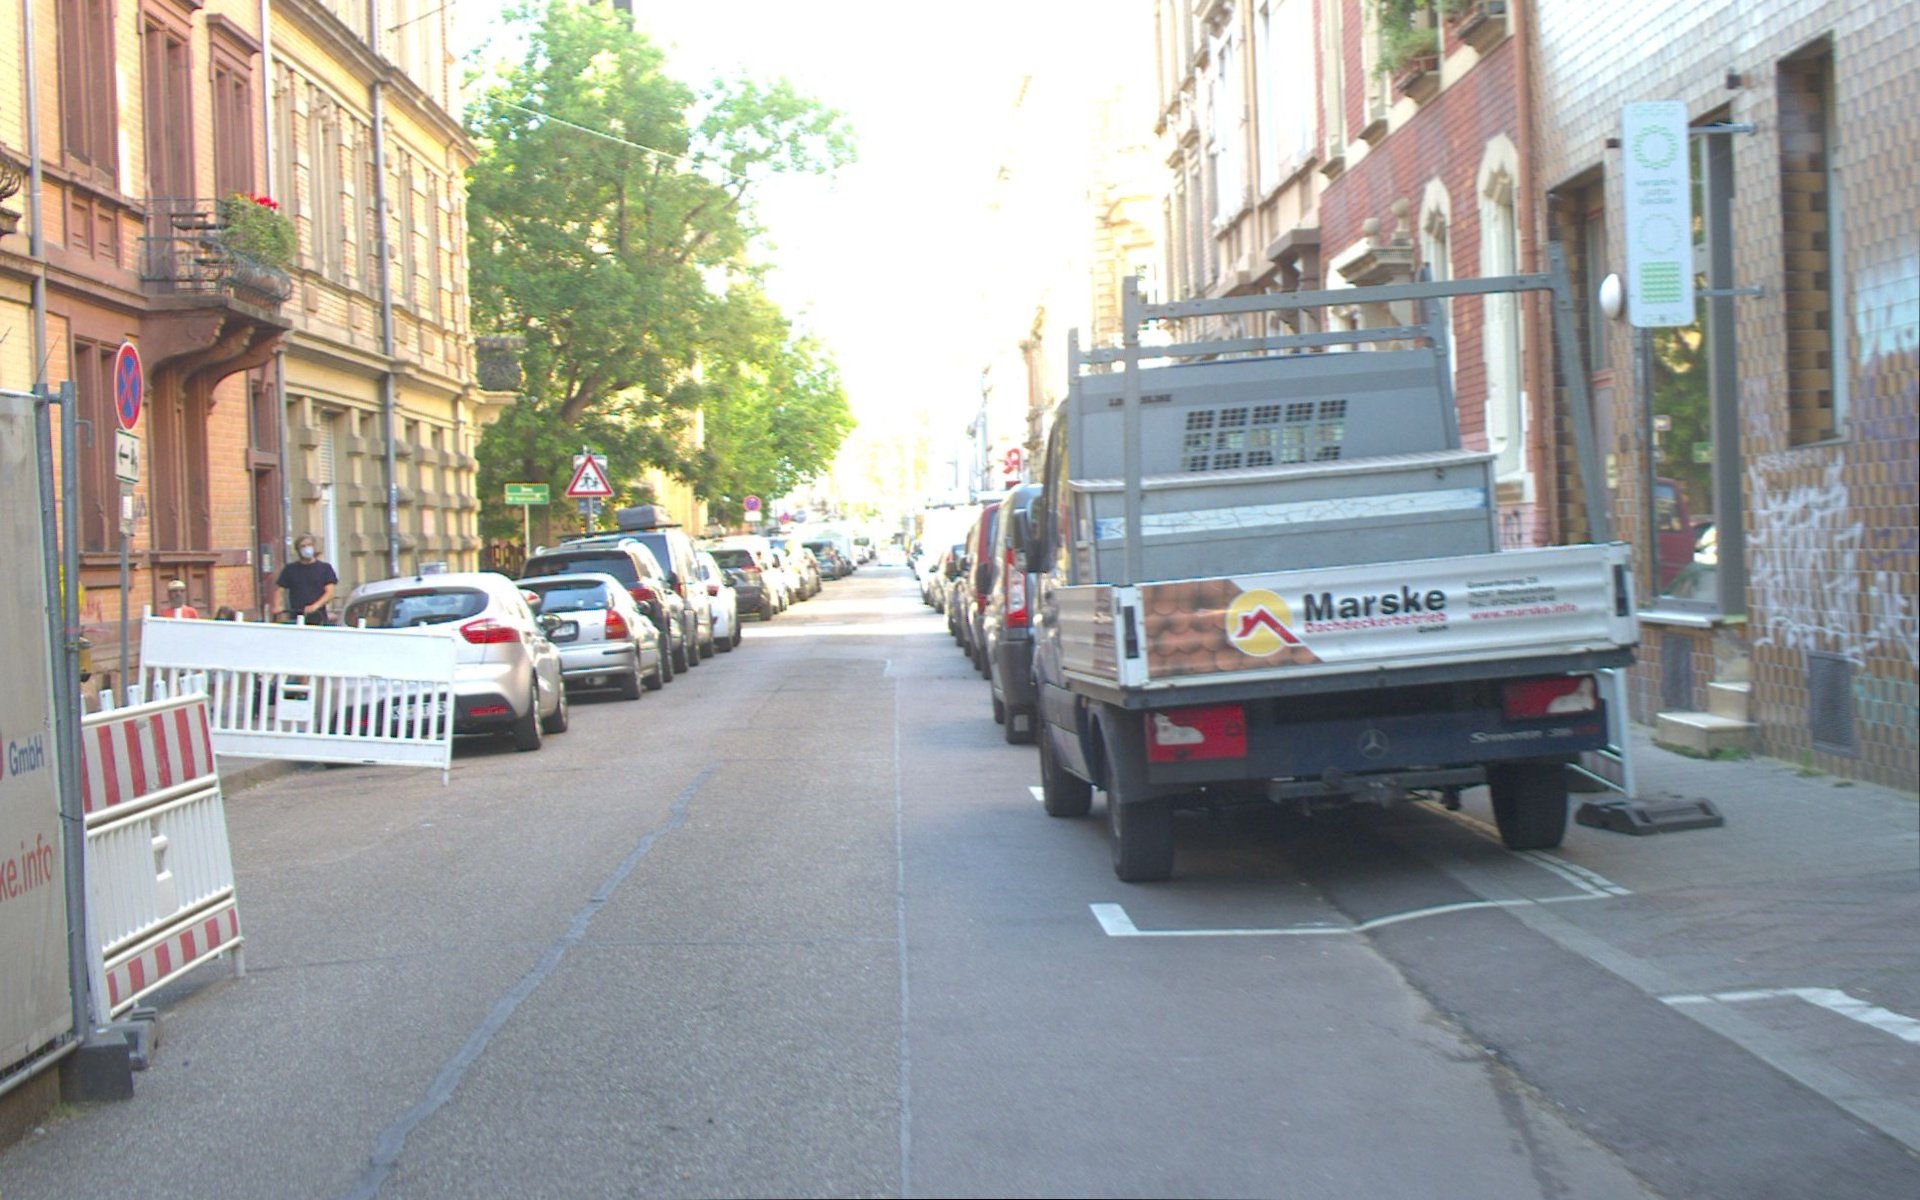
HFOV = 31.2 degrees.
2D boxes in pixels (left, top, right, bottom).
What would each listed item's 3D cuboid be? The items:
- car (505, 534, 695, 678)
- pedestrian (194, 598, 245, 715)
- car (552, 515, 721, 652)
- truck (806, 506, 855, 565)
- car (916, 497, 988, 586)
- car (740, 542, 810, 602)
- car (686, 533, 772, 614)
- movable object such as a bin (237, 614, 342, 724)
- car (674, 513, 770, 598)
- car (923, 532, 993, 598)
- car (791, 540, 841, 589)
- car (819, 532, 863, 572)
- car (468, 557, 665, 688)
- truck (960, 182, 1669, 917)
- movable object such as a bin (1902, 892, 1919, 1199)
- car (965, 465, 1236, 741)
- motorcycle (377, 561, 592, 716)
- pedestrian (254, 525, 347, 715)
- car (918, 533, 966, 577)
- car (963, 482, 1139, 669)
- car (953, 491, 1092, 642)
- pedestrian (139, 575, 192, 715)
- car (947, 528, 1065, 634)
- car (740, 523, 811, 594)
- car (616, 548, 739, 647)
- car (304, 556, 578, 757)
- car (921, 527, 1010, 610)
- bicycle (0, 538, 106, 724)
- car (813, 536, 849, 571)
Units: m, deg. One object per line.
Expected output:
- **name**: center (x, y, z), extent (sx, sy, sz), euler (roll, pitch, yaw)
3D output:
- **car**: center (-4.291, 0.034, 41.624), extent (1.788, 1.619, 4.608), euler (-1, 1, 0)
- **pedestrian**: center (-7.015, 0.535, 32.578), extent (0.393, 1.083, 0.432), euler (-2, 1, -6)
- **car**: center (-4.420, -0.259, 47.611), extent (1.892, 1.778, 4.608), euler (-1, 1, 0)
- **truck**: center (-7.556, -3.751, 201.085), extent (2.532, 3.270, 6.995), euler (-2, 1, 0)
- **car**: center (-0.277, -1.826, 106.449), extent (2.068, 2.602, 5.888), euler (-2, 1, -1)
- **car**: center (-5.169, -0.799, 96.252), extent (1.742, 1.581, 3.869), euler (-2, 1, -1)
- **car**: center (-5.028, -0.599, 75.255), extent (1.740, 1.641, 4.290), euler (-3, 1, -3)
- **movable object such as a bin**: center (-6.172, 0.624, 31.705), extent (0.761, 0.929, 1.415), euler (-2, 1, -5)
- **car**: center (-5.563, -1.068, 80.777), extent (1.845, 1.856, 4.465), euler (-3, 1, 0)
- **car**: center (-0.049, -0.933, 91.795), extent (1.807, 1.684, 4.214), euler (-1, 1, 0)
- **car**: center (-5.181, -1.290, 123.876), extent (1.600, 1.608, 3.809), euler (-5, 1, -1)
- **car**: center (-5.624, -2.261, 162.656), extent (1.875, 1.790, 4.000), euler (-2, 1, 0)
- **car**: center (-4.186, 0.204, 37.071), extent (1.698, 1.309, 4.000), euler (1, 1, -1)
- **truck**: center (1.398, -0.255, 16.583), extent (2.148, 2.648, 6.254), euler (-7, 1, -3)
- **movable object such as a bin**: center (1.545, 0.867, 3.840), extent (0.740, 1.053, 0.687), euler (-3, 1, -1)
- **car**: center (1.013, -0.022, 26.943), extent (1.845, 1.977, 4.576), euler (0, 1, -1)
- **motorcycle**: center (-4.623, 0.382, 33.324), extent (0.842, 1.355, 2.195), euler (-6, 1, -43)
- **pedestrian**: center (-6.292, 0.179, 32.850), extent (0.685, 1.759, 0.887), euler (-3, 1, -4)
- **car**: center (-0.623, -1.610, 122.272), extent (1.603, 1.499, 4.000), euler (-1, 1, 0)
- **car**: center (0.995, -0.312, 39.760), extent (1.832, 2.007, 4.742), euler (-1, 1, -1)
- **car**: center (0.819, -0.481, 47.429), extent (1.769, 1.954, 4.264), euler (-1, 1, -1)
- **pedestrian**: center (-7.522, 0.426, 32.556), extent (0.393, 1.302, 0.432), euler (-2, 1, -6)
- **car**: center (0.669, -0.326, 52.662), extent (1.666, 1.474, 3.888), euler (-2, 2, 0)
- **car**: center (-5.485, -1.252, 102.570), extent (1.864, 1.950, 4.611), euler (-4, 1, -1)
- **car**: center (-4.261, -0.070, 52.321), extent (1.674, 1.416, 3.875), euler (-1, 1, -2)
- **car**: center (-4.199, 0.406, 28.347), extent (1.674, 1.414, 4.000), euler (-4, 1, -2)
- **car**: center (0.108, -0.728, 76.893), extent (1.703, 1.708, 3.938), euler (-3, 1, -3)
- **bicycle**: center (-7.256, 0.225, 27.248), extent (0.524, 1.420, 1.712), euler (1, 1, 0)
- **car**: center (-6.924, -2.492, 184.580), extent (1.875, 1.790, 4.000), euler (-2, 1, -2)
